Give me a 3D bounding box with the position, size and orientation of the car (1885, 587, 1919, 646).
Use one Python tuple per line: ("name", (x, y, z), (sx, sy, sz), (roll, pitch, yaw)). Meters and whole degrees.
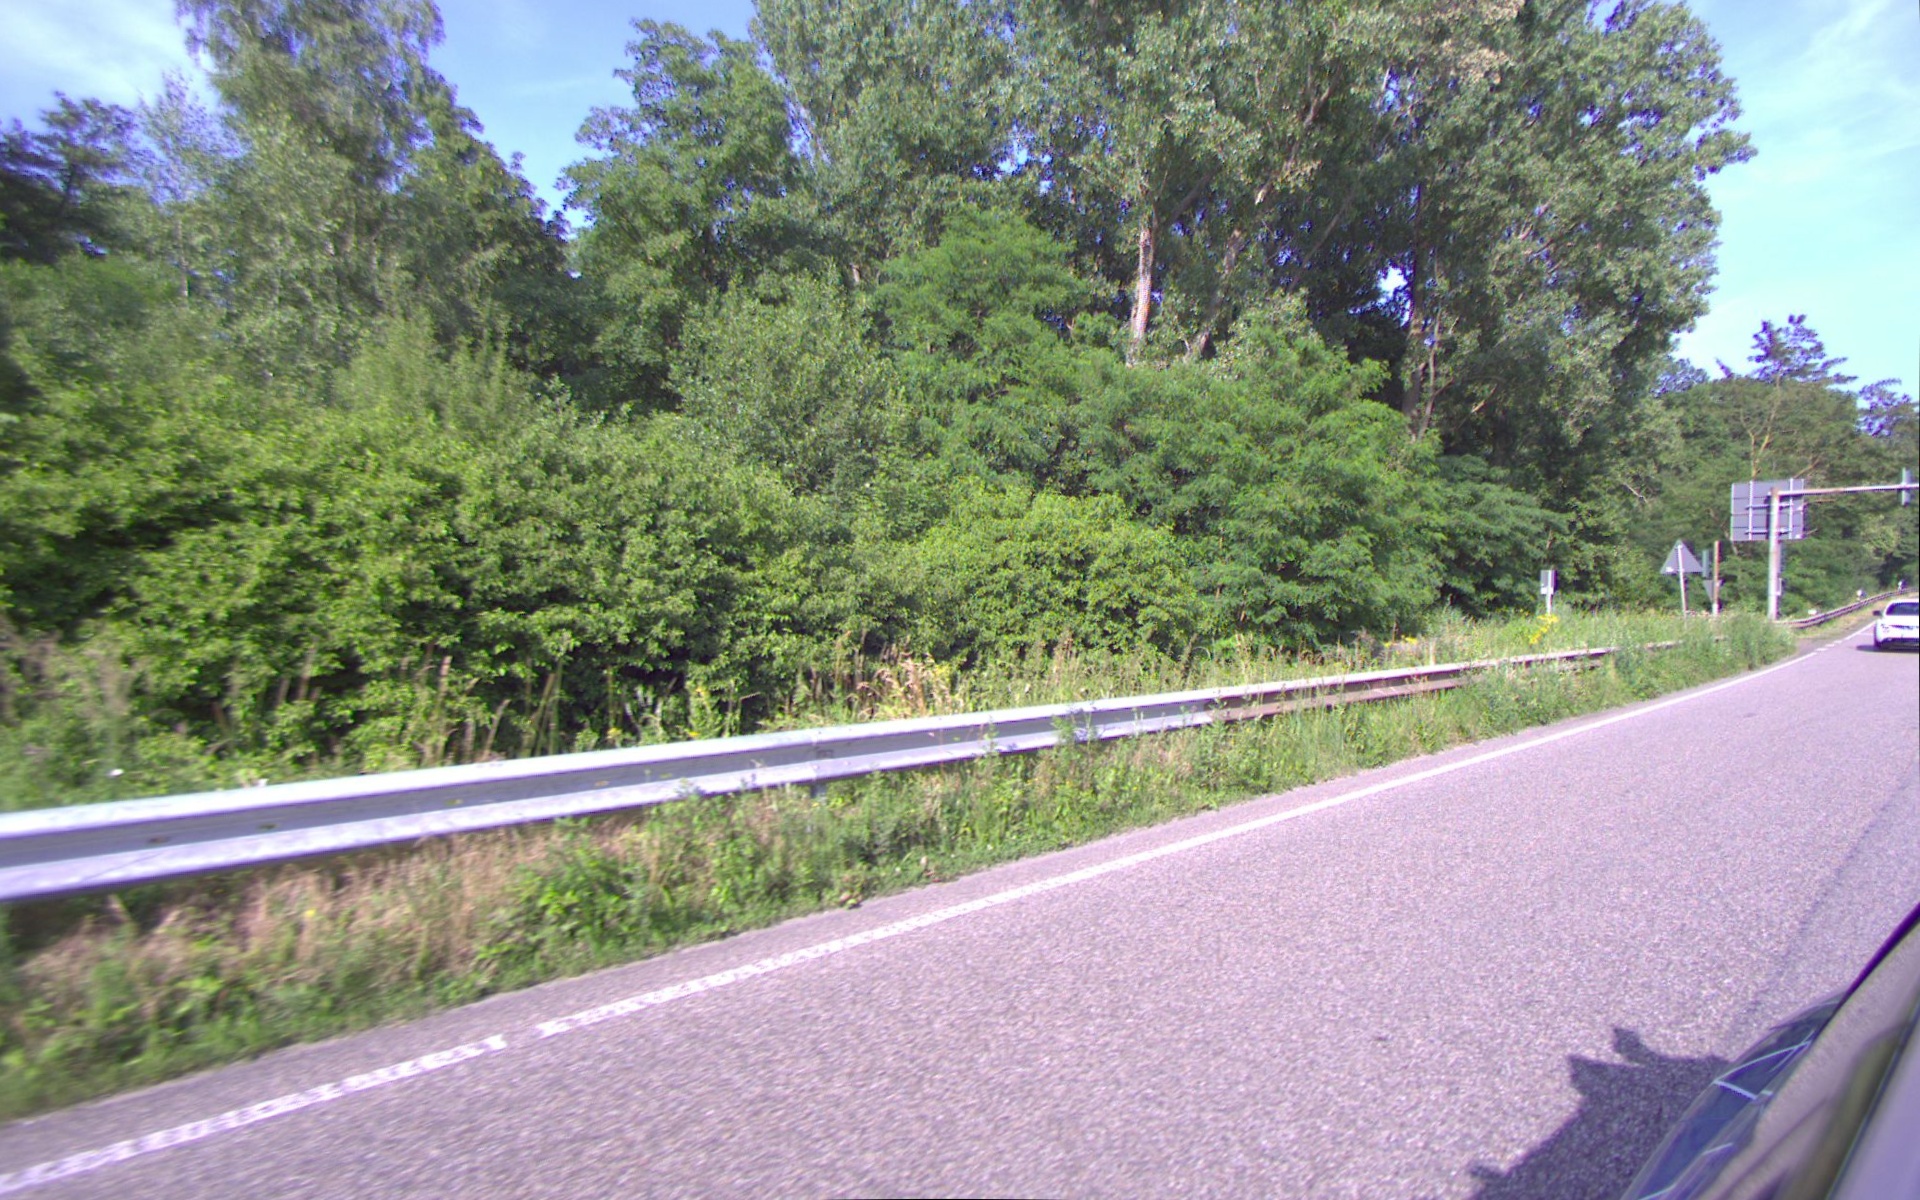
("car", (29.560, 0.442, 30.668), (4.753, 1.655, 1.872), (-2, 0, -43))
